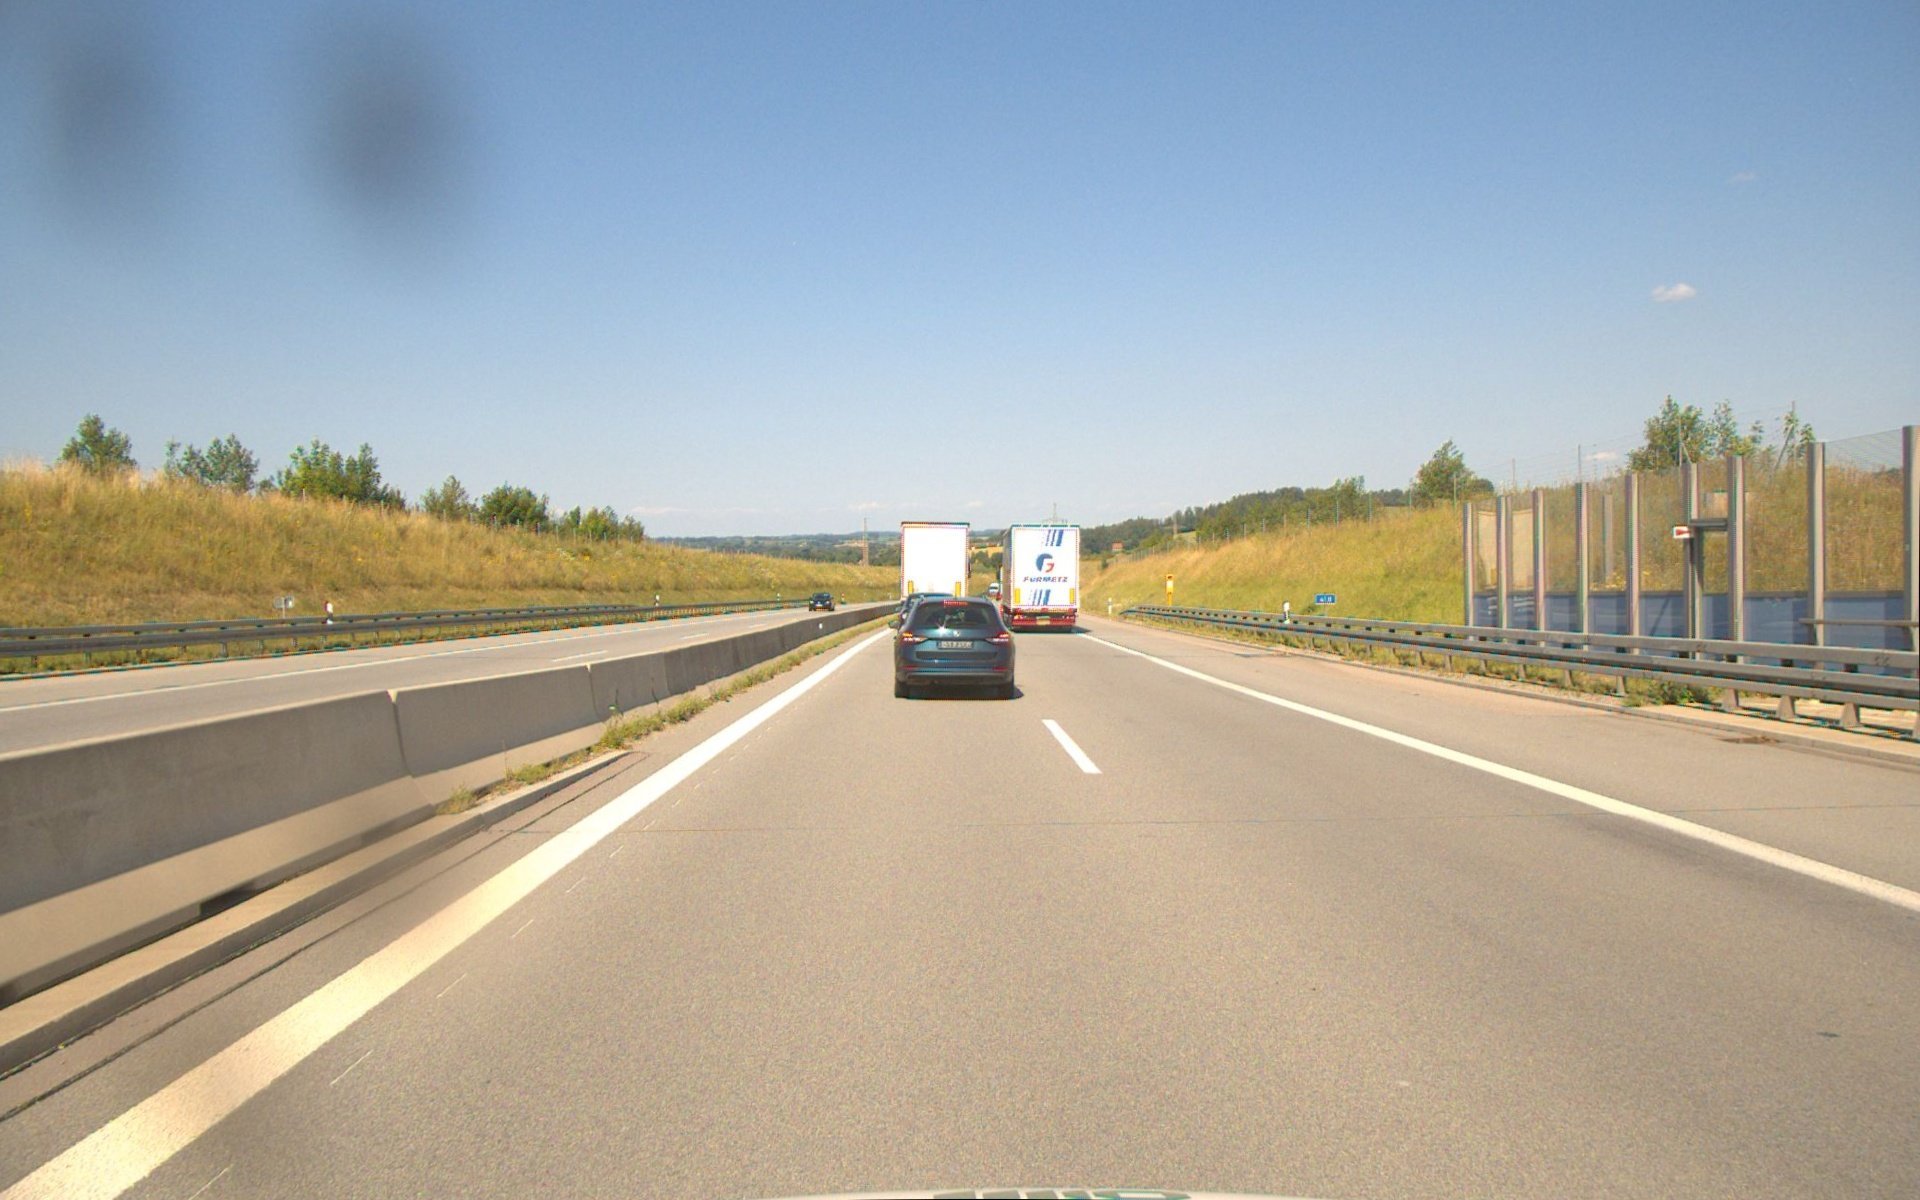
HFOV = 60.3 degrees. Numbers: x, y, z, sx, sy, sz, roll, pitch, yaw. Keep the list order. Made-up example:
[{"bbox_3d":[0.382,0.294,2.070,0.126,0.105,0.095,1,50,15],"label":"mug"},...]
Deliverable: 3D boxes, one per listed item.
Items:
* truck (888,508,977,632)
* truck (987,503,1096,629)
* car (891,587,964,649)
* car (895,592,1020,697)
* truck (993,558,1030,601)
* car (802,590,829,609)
[{"bbox_3d":[-1.040,-1.151,66.920,3.145,4.457,11.233,-2,0,0],"label":"truck"},{"bbox_3d":[3.062,-1.302,66.063,3.531,4.457,11.232,-2,0,0],"label":"truck"},{"bbox_3d":[-0.893,0.441,43.574,1.666,1.466,3.997,-2,0,-4],"label":"car"},{"bbox_3d":[-0.092,0.611,24.953,1.741,1.466,3.787,0,0,-2],"label":"car"},{"bbox_3d":[5.645,-2.263,183.700,3.531,4.457,11.232,-2,0,0],"label":"truck"},{"bbox_3d":[-11.347,-0.062,130.055,1.710,1.379,4.000,-2,0,-1],"label":"car"}]
